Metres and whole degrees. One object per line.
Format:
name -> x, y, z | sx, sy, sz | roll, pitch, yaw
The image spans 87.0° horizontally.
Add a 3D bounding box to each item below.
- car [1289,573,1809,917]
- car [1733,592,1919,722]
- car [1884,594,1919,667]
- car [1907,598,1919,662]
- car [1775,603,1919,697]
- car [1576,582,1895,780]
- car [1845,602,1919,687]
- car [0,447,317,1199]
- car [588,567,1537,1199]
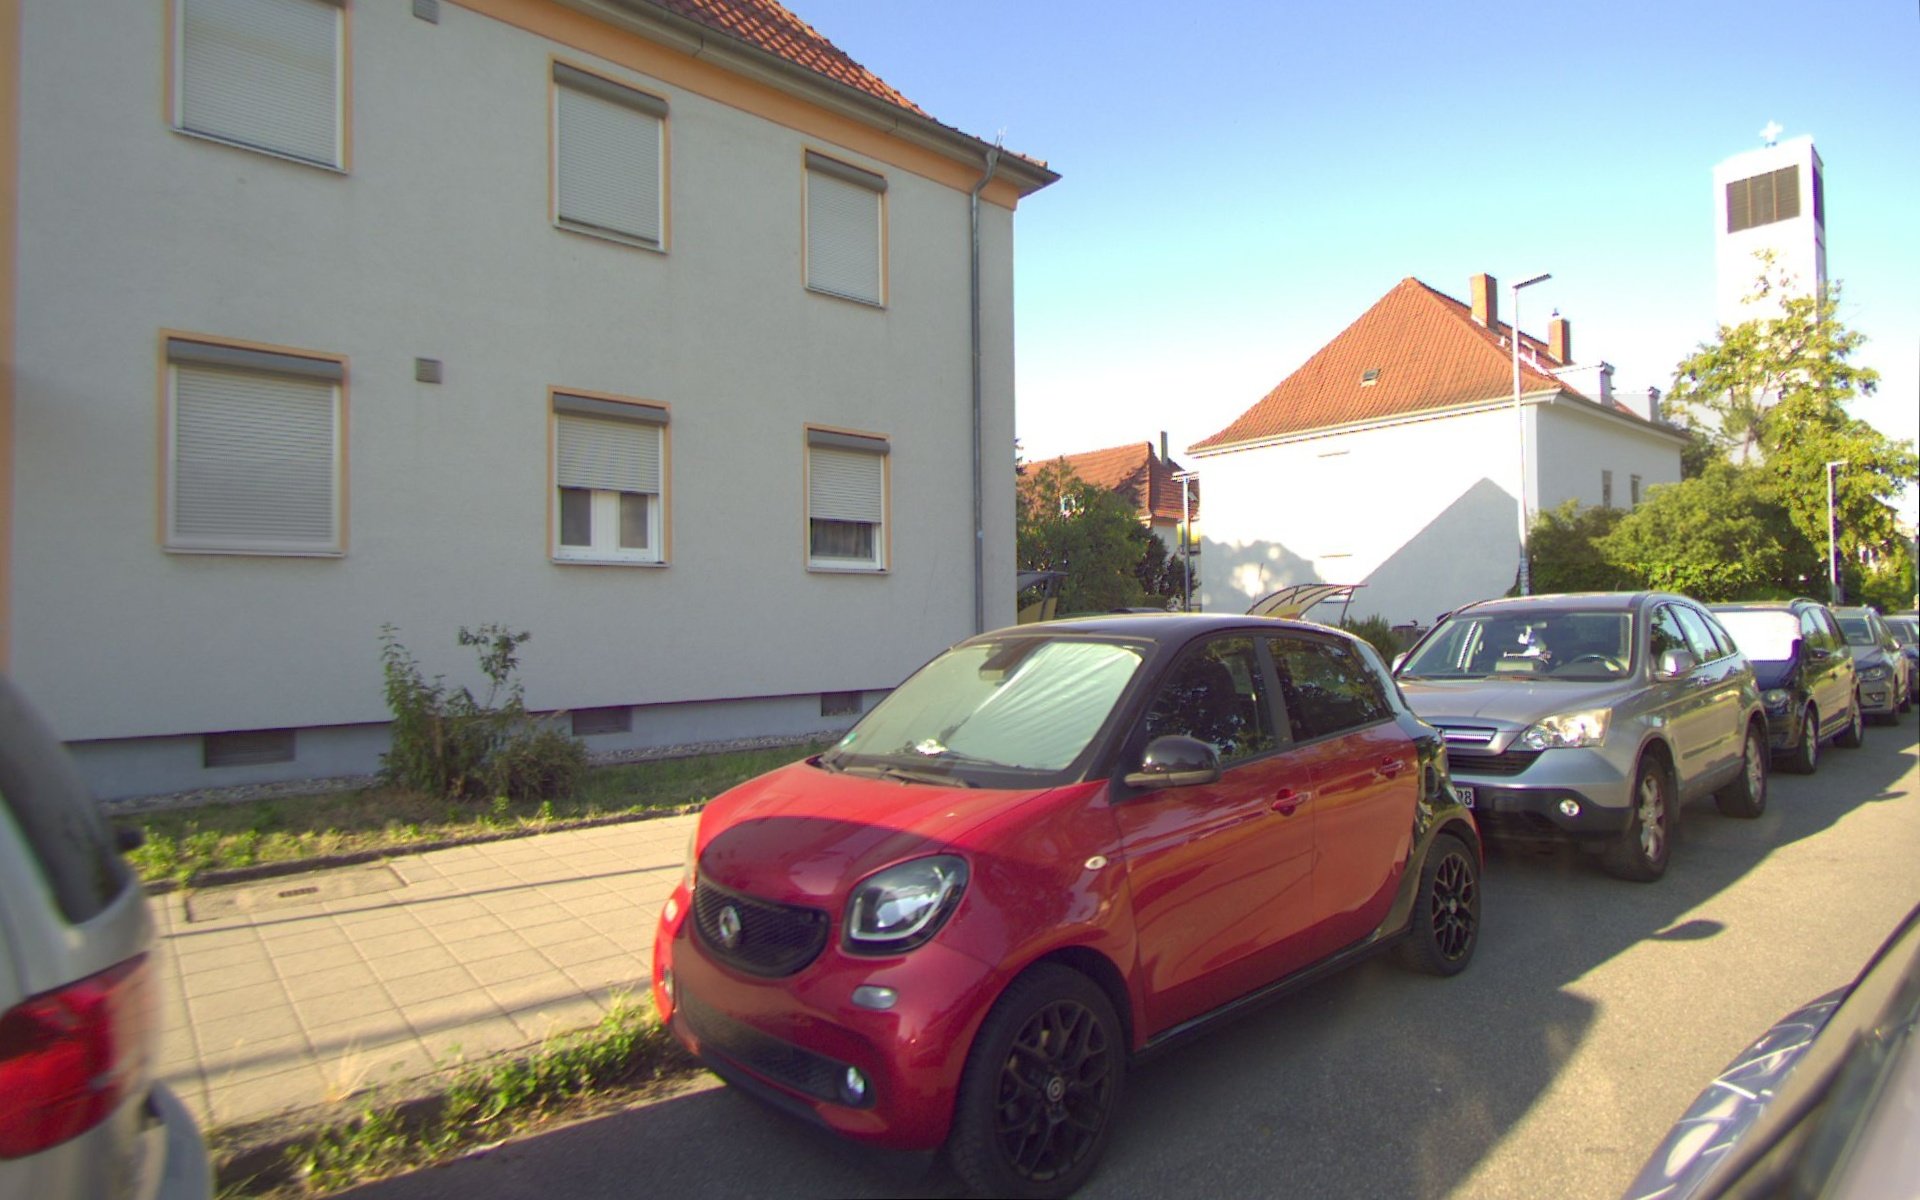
car -> 4.380, 0.705, 7.144 | 4.674, 1.664, 1.779 | 0, -1, -42
car -> 12.558, 0.732, 14.469 | 4.343, 1.581, 1.725 | 0, -2, -44
car -> 24.116, 0.703, 24.595 | 4.735, 1.679, 1.857 | 1, -3, -41
car -> 28.238, 0.766, 28.373 | 4.541, 1.743, 1.935 | 0, -5, -42
car -> 16.340, 0.837, 17.981 | 4.480, 1.481, 1.997 | 0, -3, -40
car -> 8.349, 0.694, 10.722 | 4.682, 1.656, 1.768 | -1, -2, -42
car -> 20.013, 0.850, 21.165 | 4.137, 1.569, 1.728 | -1, -6, -43
car -> -3.111, 0.682, 0.492 | 4.489, 1.660, 1.717 | 0, -4, -45
car -> 0.674, 0.710, 4.014 | 3.670, 1.546, 1.732 | 0, 0, -42
